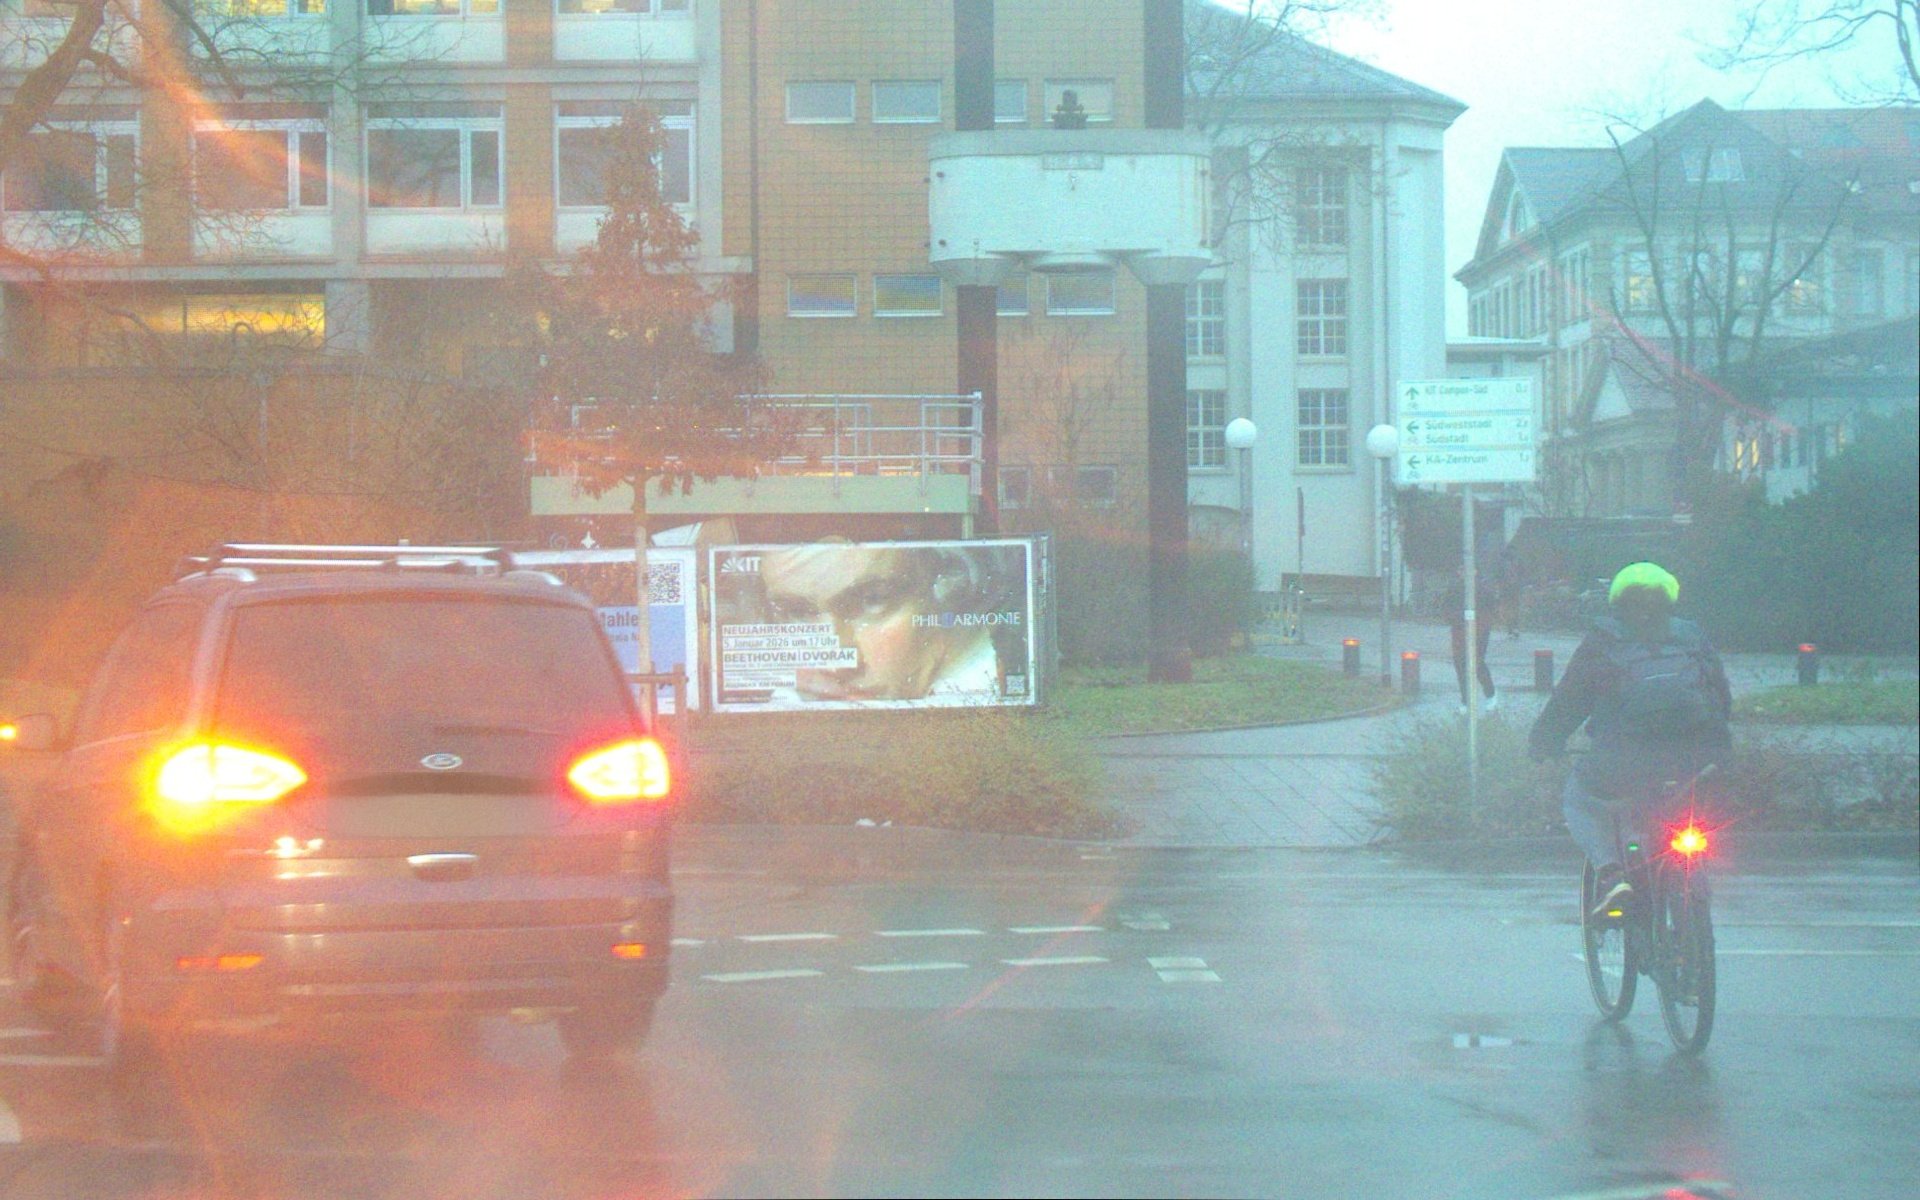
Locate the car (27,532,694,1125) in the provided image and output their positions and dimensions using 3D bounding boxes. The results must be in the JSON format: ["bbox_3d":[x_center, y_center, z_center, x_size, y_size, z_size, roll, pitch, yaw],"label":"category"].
[{"bbox_3d":[-2.406,0.699,12.800,1.777,1.794,4.425,0,0,-19],"label":"car"}]

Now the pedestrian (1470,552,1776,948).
[{"bbox_3d":[2.298,0.500,12.010,0.874,1.312,0.848,-1,1,0],"label":"pedestrian"}]

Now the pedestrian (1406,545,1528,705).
[{"bbox_3d":[5.501,0.257,37.315,0.924,1.682,0.913,-1,3,-28],"label":"pedestrian"}]

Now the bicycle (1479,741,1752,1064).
[{"bbox_3d":[2.320,1.040,12.380,0.561,0.943,2.095,-1,1,0],"label":"bicycle"}]
